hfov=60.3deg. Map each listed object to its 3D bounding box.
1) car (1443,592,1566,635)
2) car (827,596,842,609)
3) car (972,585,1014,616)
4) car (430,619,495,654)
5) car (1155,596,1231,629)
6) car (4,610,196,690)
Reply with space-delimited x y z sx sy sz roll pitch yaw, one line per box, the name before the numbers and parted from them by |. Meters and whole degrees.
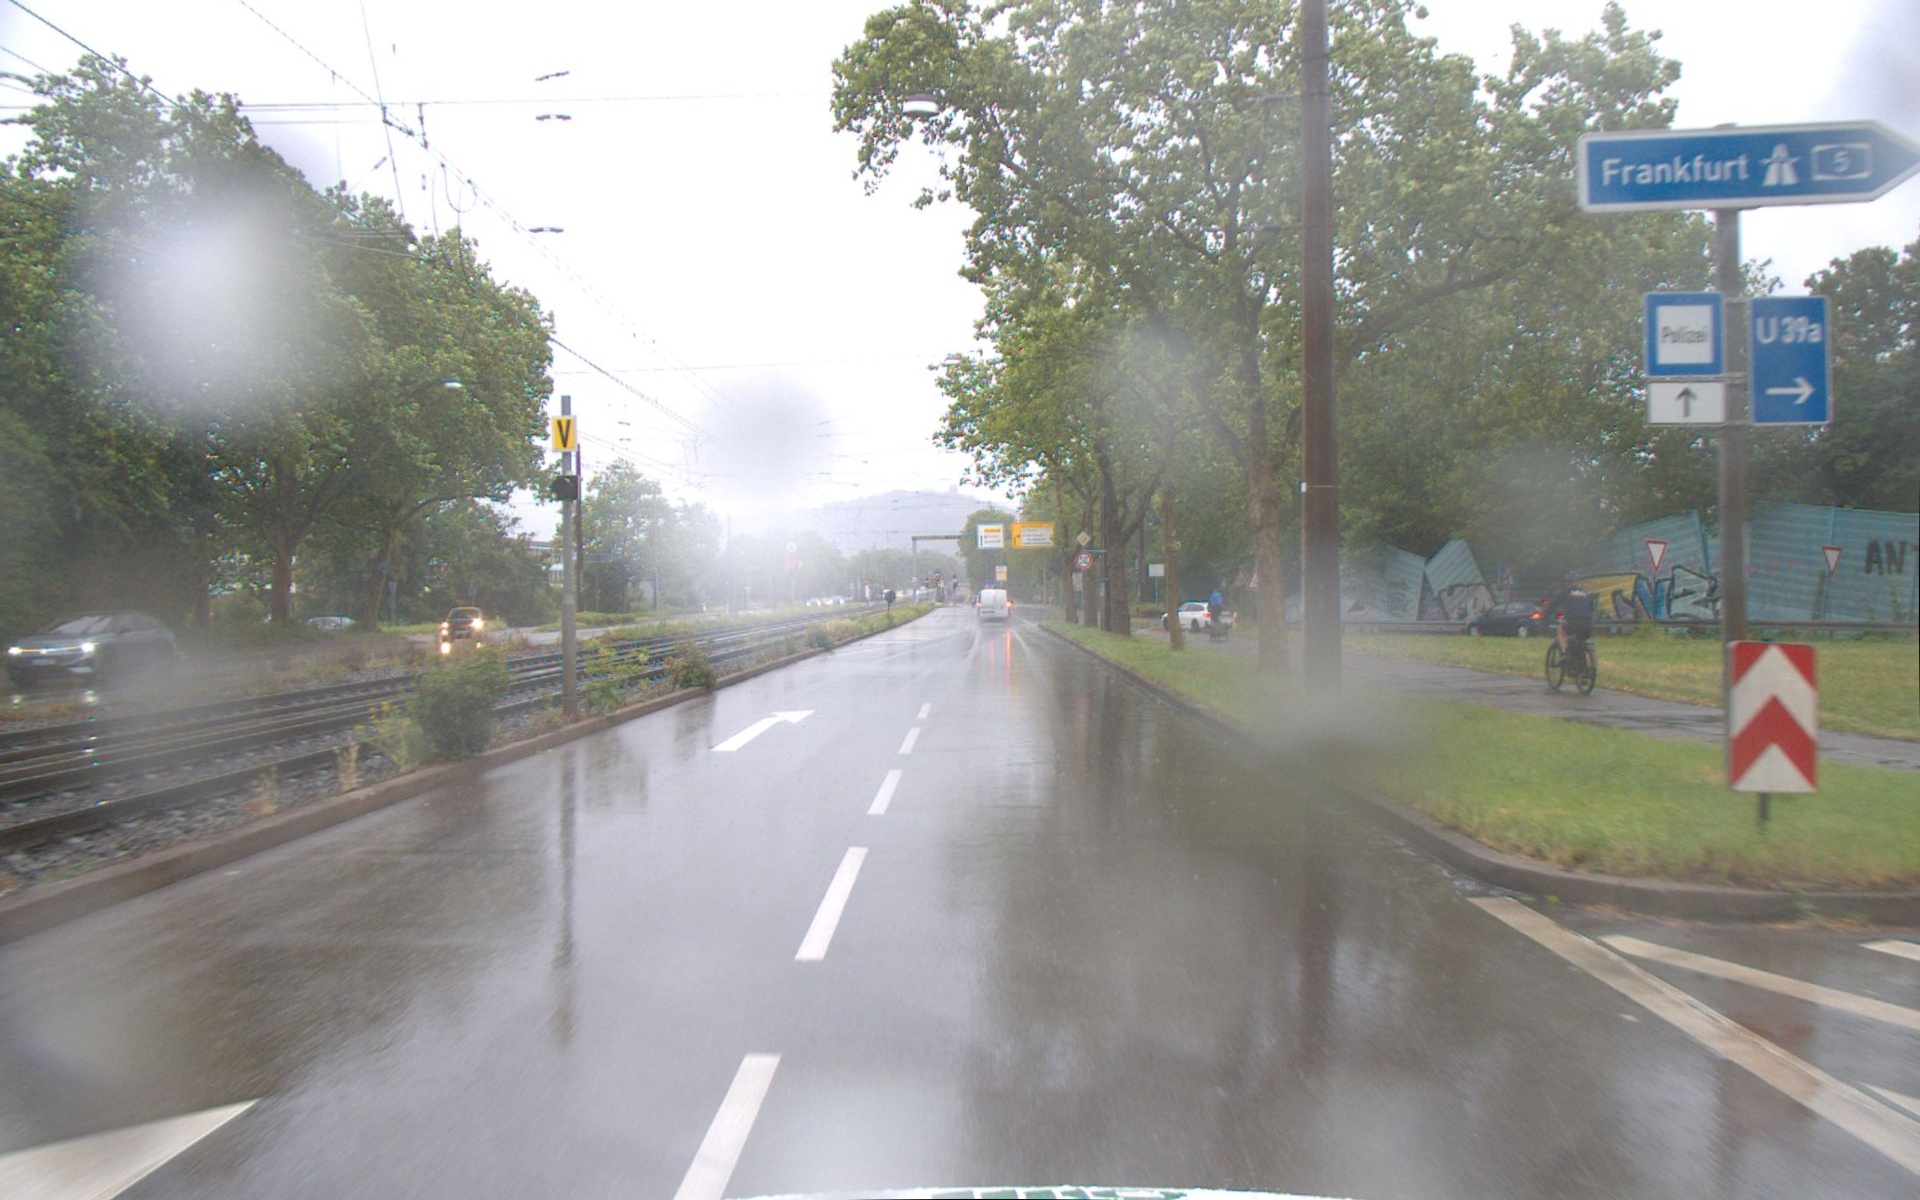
car | 20.450 0.498 62.252 1.840 1.563 4.480 0 0 -25
car | -16.712 0.360 219.815 1.905 1.644 4.985 -1 0 -3
car | 1.629 0.037 83.009 2.035 1.445 4.000 -2 0 0
car | -21.511 1.547 71.637 1.648 1.430 3.939 0 0 -1
car | 11.535 0.602 82.059 1.919 1.563 4.441 0 0 -19
car | -18.615 1.040 36.078 1.656 1.550 4.954 0 0 -1
